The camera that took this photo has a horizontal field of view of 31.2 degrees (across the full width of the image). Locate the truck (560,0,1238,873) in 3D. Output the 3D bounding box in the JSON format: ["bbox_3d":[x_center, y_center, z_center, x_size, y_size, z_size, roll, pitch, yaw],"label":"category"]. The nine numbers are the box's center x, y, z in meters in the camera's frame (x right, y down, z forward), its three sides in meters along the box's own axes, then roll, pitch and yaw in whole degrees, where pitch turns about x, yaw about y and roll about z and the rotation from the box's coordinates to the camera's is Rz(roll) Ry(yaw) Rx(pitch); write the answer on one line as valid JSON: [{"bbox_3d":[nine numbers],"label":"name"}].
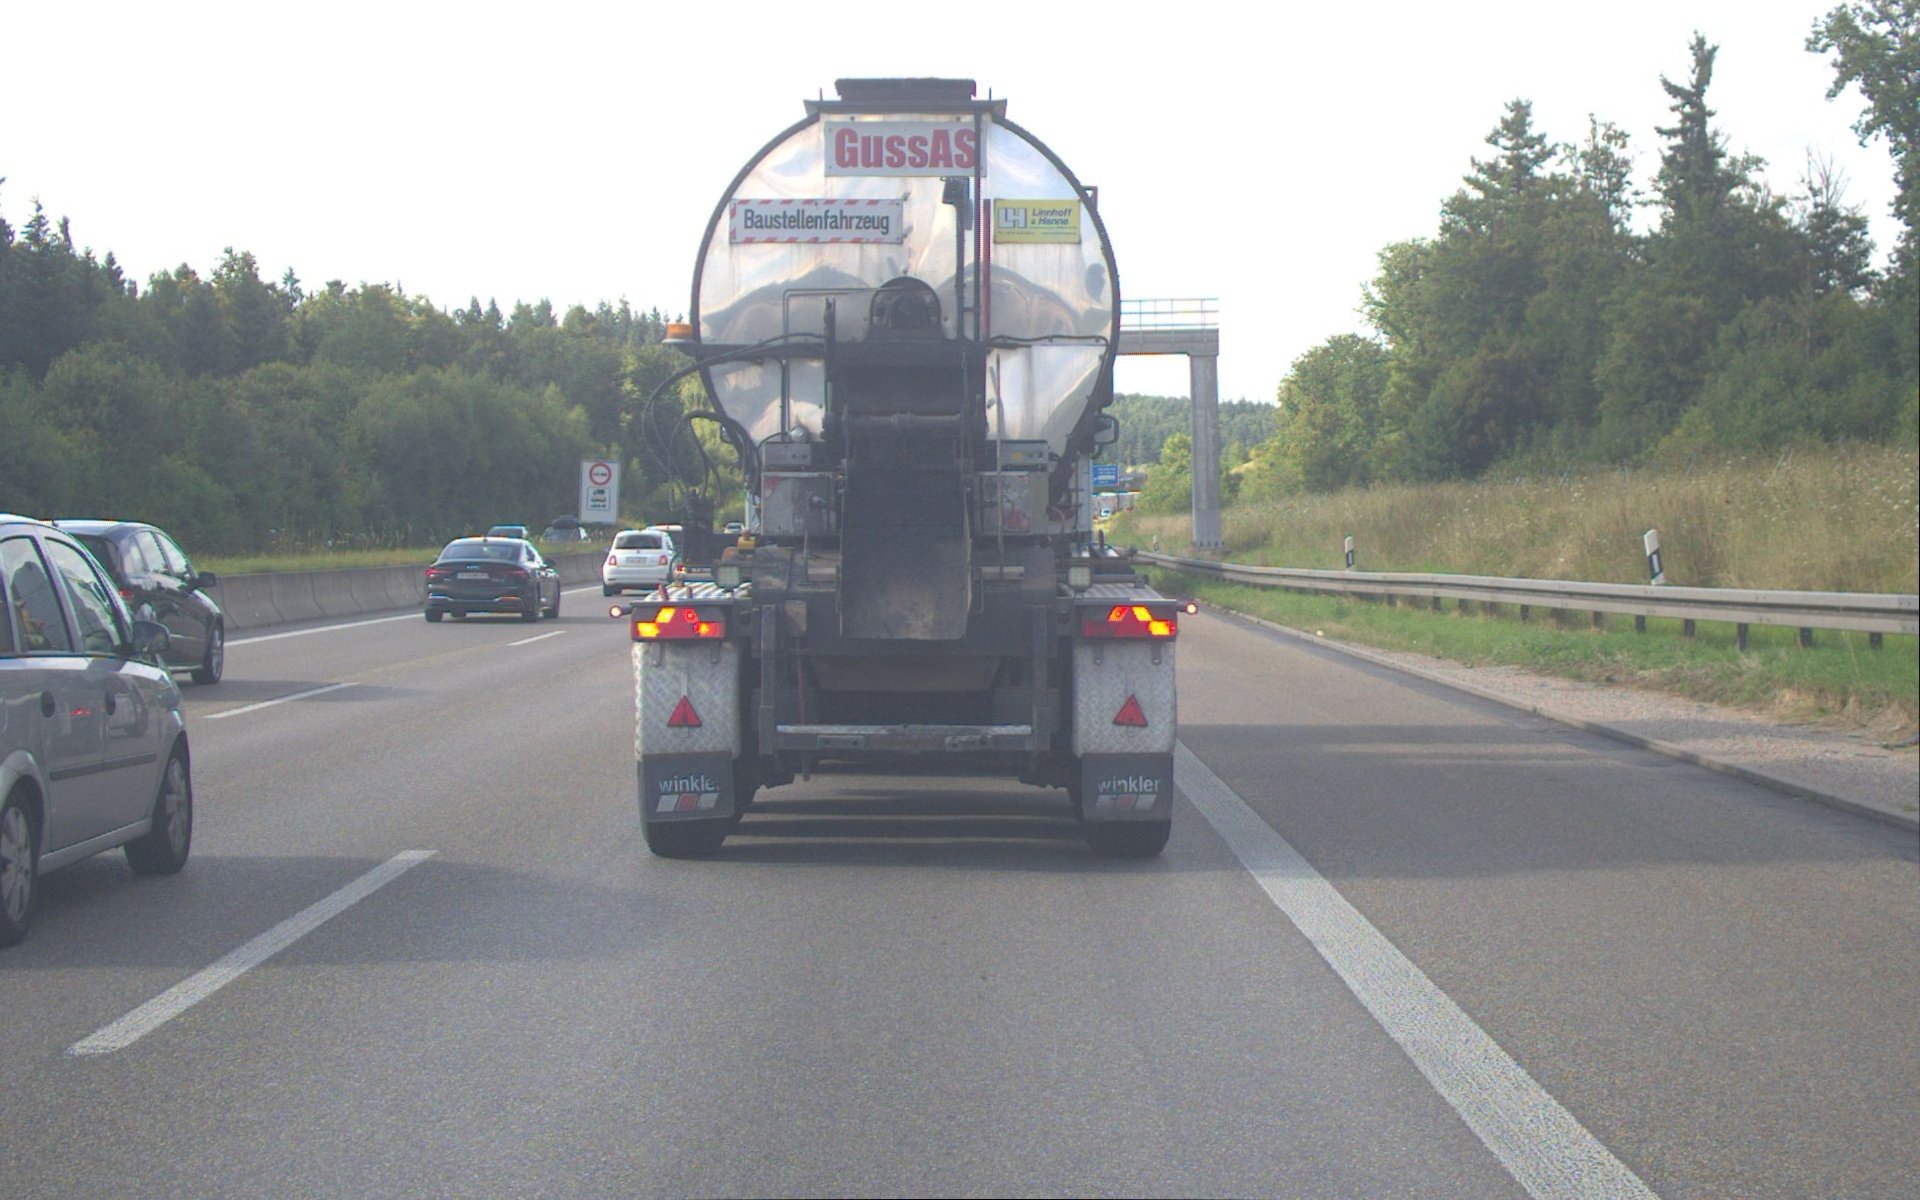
[{"bbox_3d":[-0.234,-1.020,20.450,2.912,4.143,11.270,0,1,0],"label":"truck"}]

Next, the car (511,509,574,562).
[{"bbox_3d":[-16.146,-2.505,133.205,1.993,2.007,4.072,0,1,-1],"label":"car"}]

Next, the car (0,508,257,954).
[{"bbox_3d":[-4.172,0.400,13.730,1.835,1.512,4.333,0,1,0],"label":"car"}]

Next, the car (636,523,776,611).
[{"bbox_3d":[-4.474,-0.612,61.270,2.060,1.494,5.736,0,1,0],"label":"car"}]

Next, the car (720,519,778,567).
[{"bbox_3d":[-7.347,-1.995,119.942,1.806,1.580,4.207,1,2,0],"label":"car"}]

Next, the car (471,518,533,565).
[{"bbox_3d":[-18.713,-2.412,140.525,1.993,1.874,4.438,0,1,-1],"label":"car"}]

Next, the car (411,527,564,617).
[{"bbox_3d":[-7.780,-0.501,56.957,1.856,1.426,4.841,0,1,0],"label":"car"}]

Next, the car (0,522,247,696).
[{"bbox_3d":[-8.017,0.030,32.035,1.835,1.512,4.333,0,1,0],"label":"car"}]

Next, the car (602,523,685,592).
[{"bbox_3d":[-7.273,-0.991,79.261,1.618,1.539,3.520,1,1,0],"label":"car"}]
